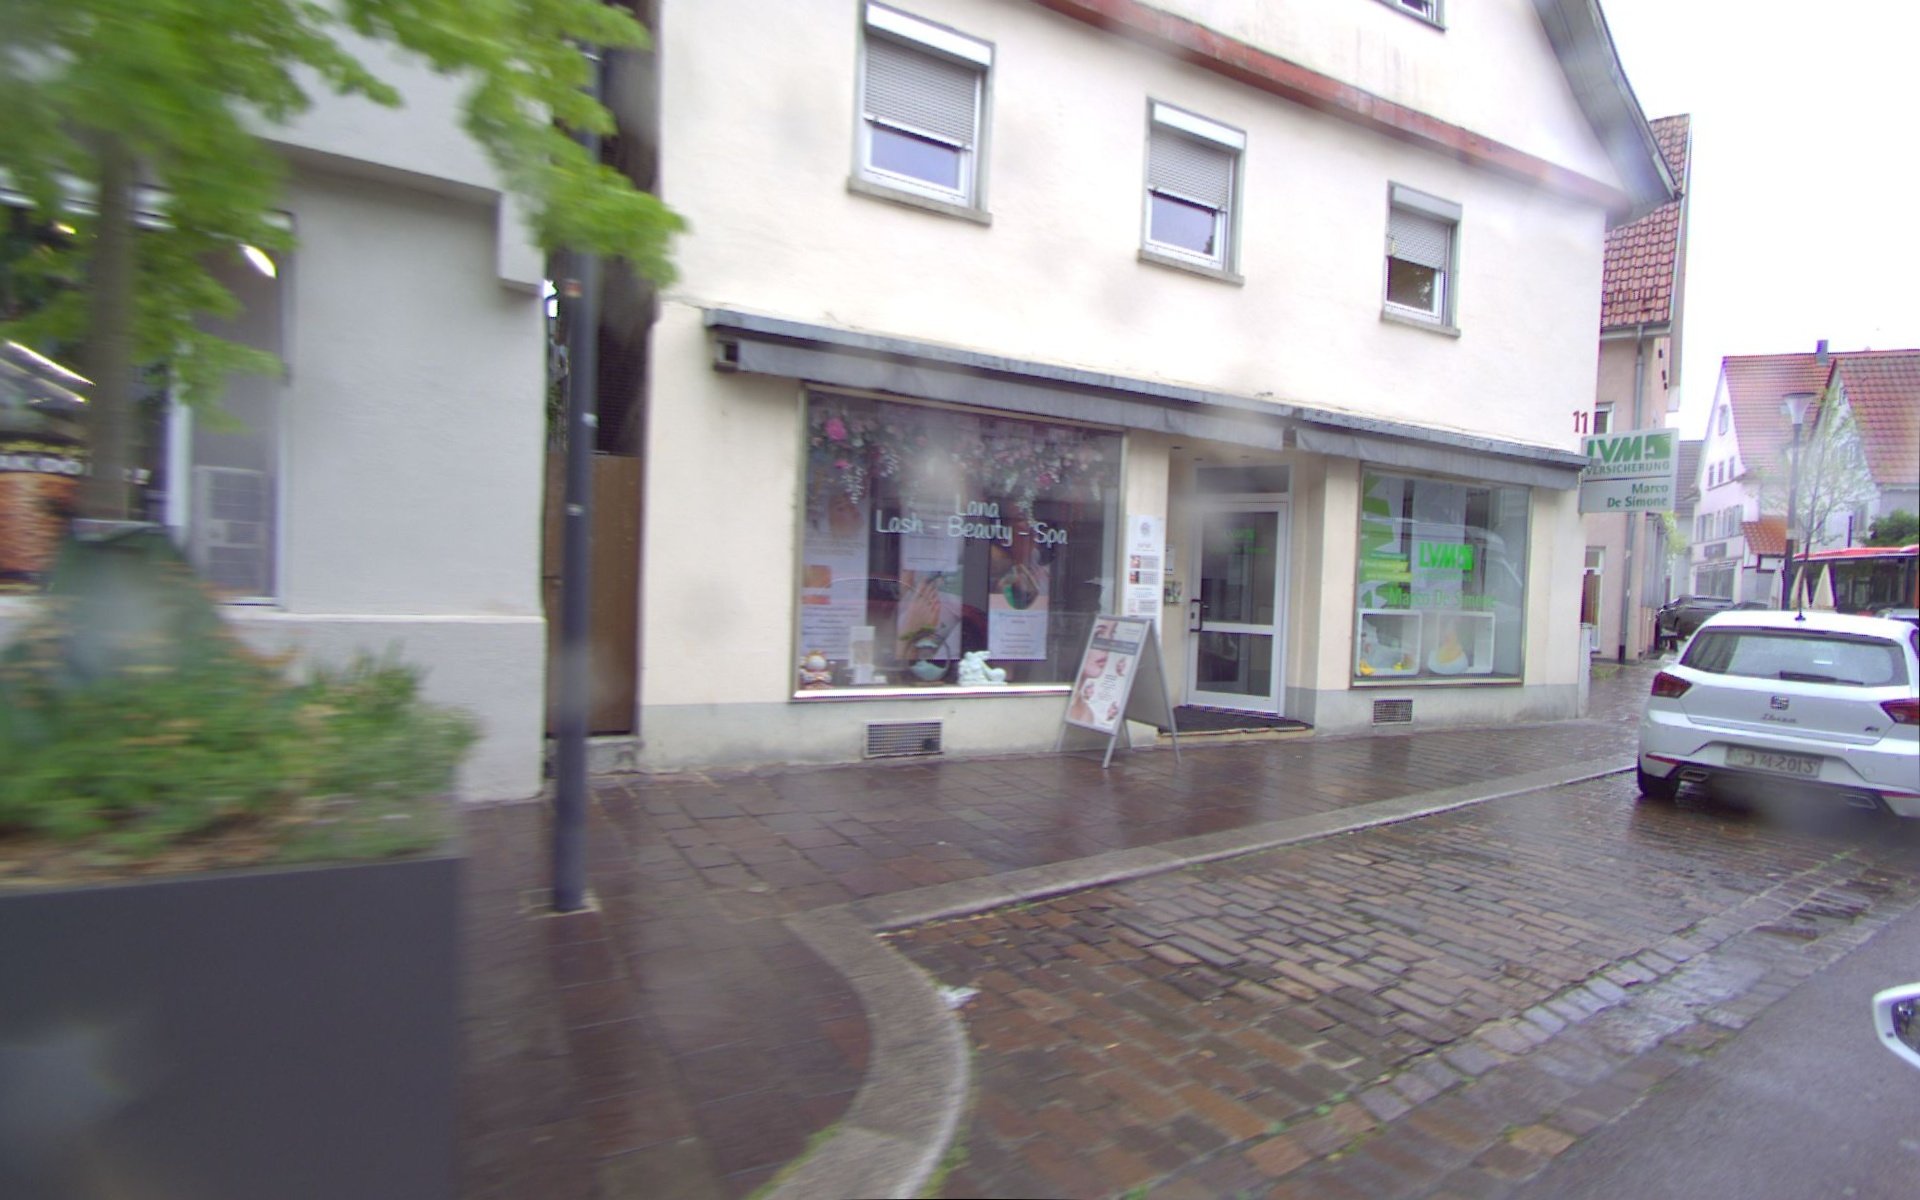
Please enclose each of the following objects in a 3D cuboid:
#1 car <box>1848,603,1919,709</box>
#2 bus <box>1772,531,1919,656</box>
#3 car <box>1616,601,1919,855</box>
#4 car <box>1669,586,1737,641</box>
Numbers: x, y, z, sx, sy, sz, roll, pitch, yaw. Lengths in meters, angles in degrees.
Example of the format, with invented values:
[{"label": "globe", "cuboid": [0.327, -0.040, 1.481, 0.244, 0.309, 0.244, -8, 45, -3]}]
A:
[{"label": "car", "cuboid": [14.889, 0.815, 15.406, 1.701, 1.433, 3.962, 3, 2, 40]}, {"label": "bus", "cuboid": [27.301, -0.090, 29.503, 2.769, 3.130, 10.598, 3, 1, 25]}, {"label": "car", "cuboid": [6.717, 0.781, 7.938, 3.954, 1.433, 1.704, 0, 4, -45]}, {"label": "car", "cuboid": [25.234, 0.458, 34.100, 1.677, 1.698, 3.876, 3, 1, 37]}]
